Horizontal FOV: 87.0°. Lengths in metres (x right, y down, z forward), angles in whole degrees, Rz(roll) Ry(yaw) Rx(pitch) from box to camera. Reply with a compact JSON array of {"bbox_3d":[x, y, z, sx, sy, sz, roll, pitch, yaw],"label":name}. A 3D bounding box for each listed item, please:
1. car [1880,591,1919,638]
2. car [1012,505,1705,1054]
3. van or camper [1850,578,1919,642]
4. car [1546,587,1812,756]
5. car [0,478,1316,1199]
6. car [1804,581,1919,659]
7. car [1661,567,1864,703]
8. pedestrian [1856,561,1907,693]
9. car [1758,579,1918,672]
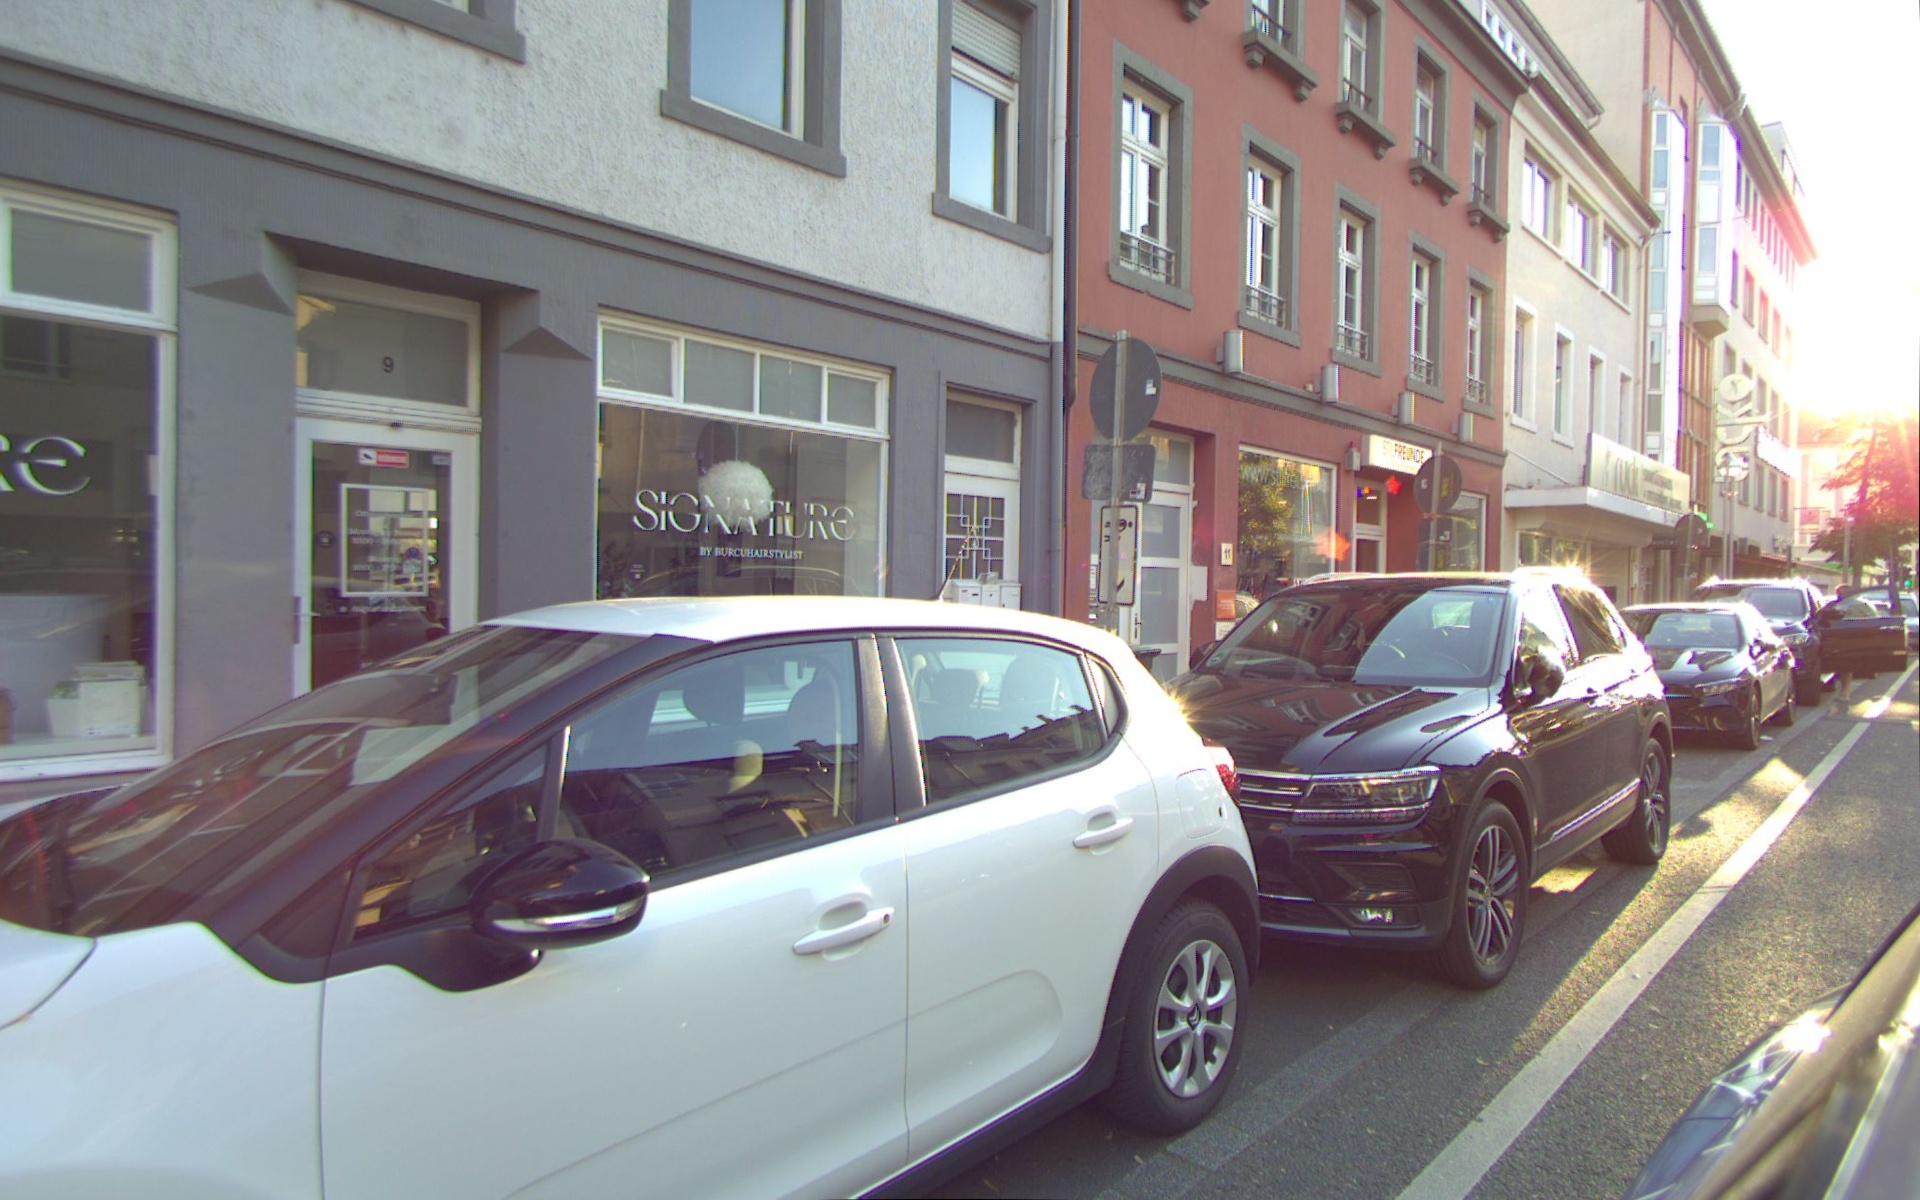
[{"bbox_3d":[33.024,0.486,34.804,3.722,1.521,1.692,-1,2,-42],"label":"car"},{"bbox_3d":[2.417,0.546,5.367,4.387,1.720,1.795,-1,0,-44],"label":"car"},{"bbox_3d":[28.567,0.260,31.009,1.786,1.795,4.492,2,2,40],"label":"van or camper"},{"bbox_3d":[8.212,0.648,11.391,4.339,1.507,1.686,-1,0,-44],"label":"car"},{"bbox_3d":[-0.885,0.653,2.389,3.868,1.593,1.663,-1,0,-43],"label":"car"},{"bbox_3d":[21.928,0.399,24.374,4.407,1.675,1.995,-1,2,-44],"label":"car"},{"bbox_3d":[12.749,0.425,15.926,1.994,1.799,5.234,1,1,44],"label":"car"},{"bbox_3d":[13.421,0.377,14.748,0.483,1.881,0.532,1,1,39],"label":"pedestrian"},{"bbox_3d":[17.835,0.430,20.485,4.550,1.676,1.996,-1,1,-43],"label":"car"}]
